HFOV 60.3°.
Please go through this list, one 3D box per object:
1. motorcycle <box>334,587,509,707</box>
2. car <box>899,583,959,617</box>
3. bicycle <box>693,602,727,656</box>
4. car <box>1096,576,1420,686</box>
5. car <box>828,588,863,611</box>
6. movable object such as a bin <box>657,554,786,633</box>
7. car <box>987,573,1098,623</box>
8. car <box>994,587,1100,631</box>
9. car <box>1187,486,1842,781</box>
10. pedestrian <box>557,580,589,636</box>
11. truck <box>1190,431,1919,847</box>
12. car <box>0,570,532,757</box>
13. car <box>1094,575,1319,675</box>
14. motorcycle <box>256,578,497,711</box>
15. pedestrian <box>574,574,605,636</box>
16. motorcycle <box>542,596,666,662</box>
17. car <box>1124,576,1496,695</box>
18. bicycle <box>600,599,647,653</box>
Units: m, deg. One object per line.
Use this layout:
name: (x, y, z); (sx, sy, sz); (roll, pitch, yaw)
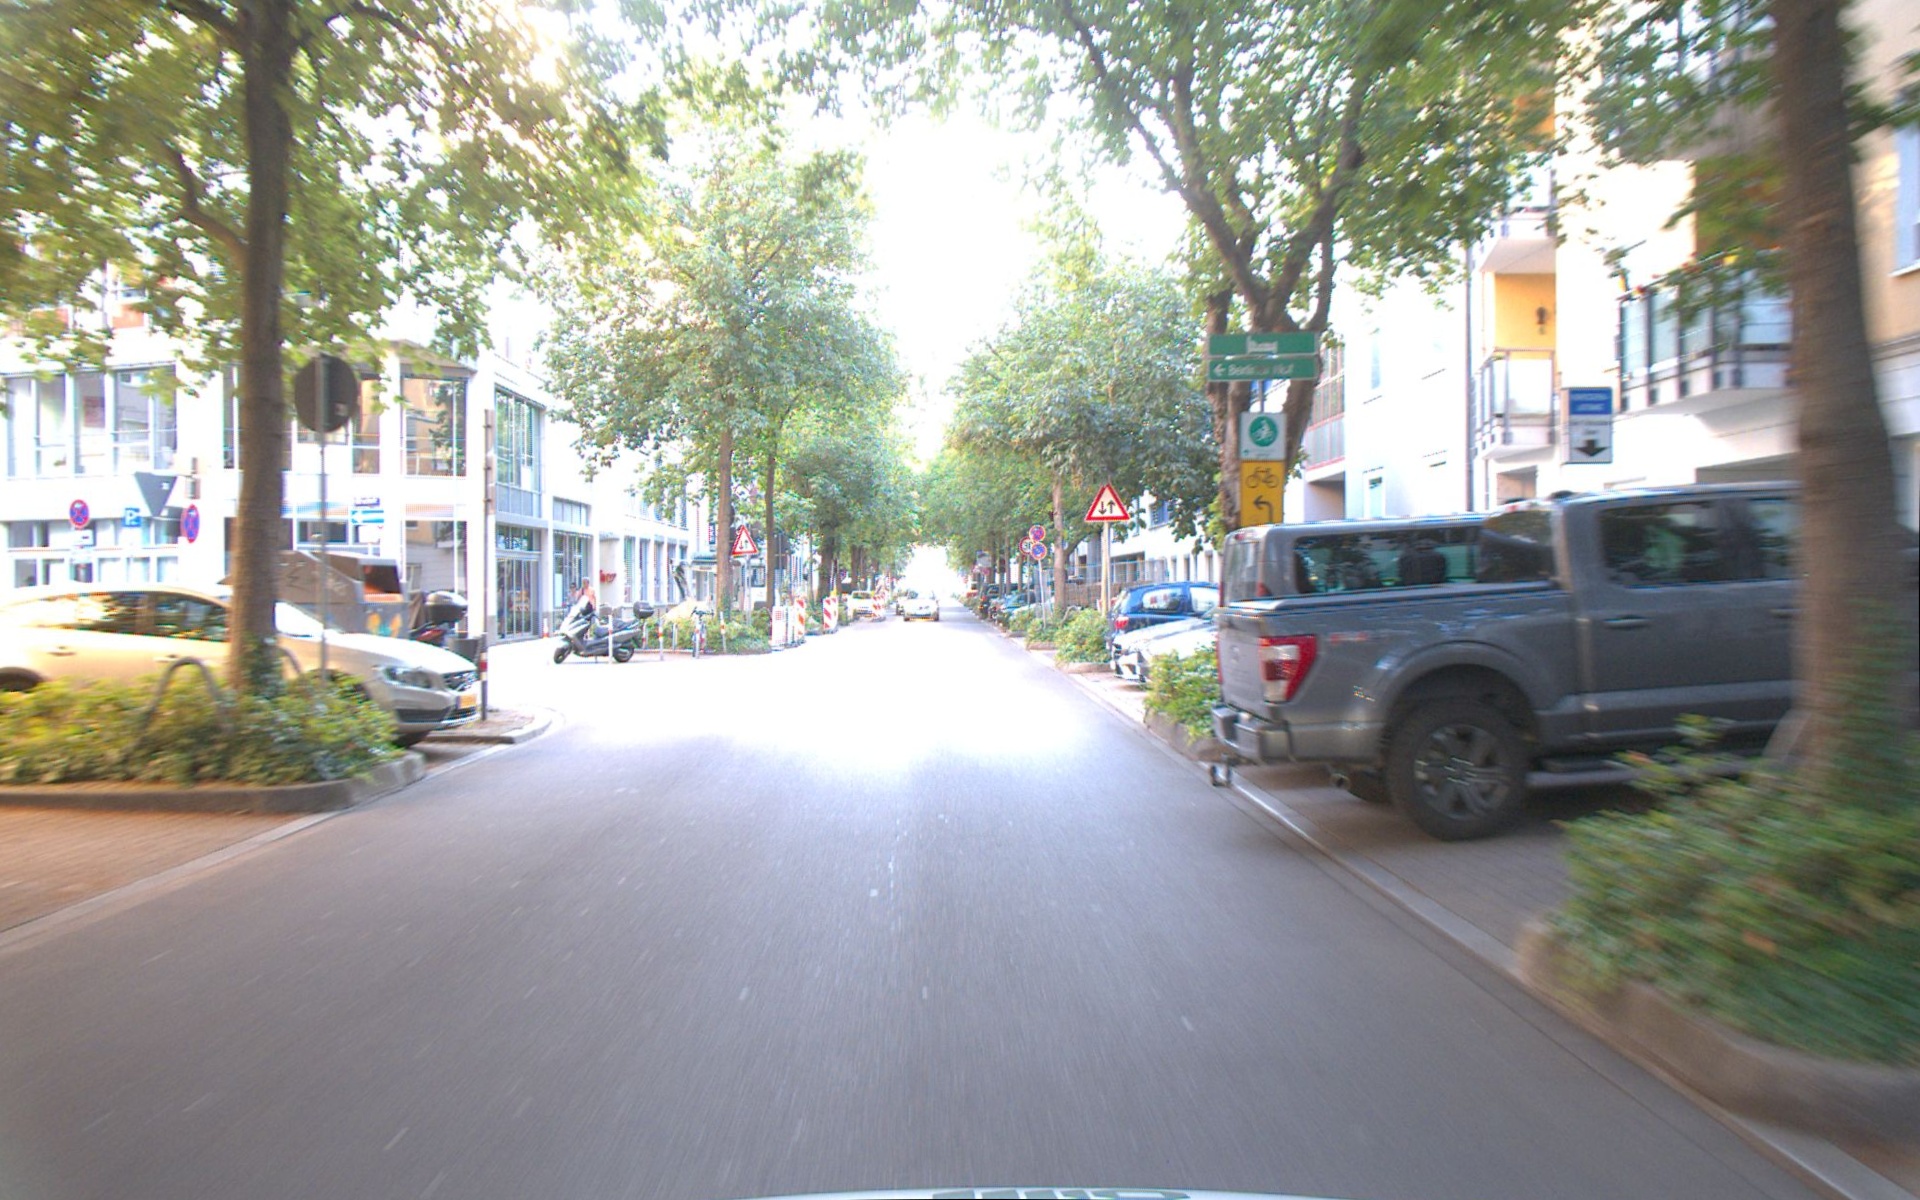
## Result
motorcycle: (-6.795, 0.570, 20.842); (2.205, 1.445, 0.851); (0, 0, 30)
car: (-1.564, -0.014, 84.020); (1.967, 1.641, 4.123); (0, 1, 15)
bicycle: (-5.808, 0.656, 38.520); (0.670, 1.173, 1.978); (-1, 1, -6)
car: (4.407, 0.443, 24.985); (4.528, 1.598, 2.010); (0, 0, -1)
car: (-6.779, -0.032, 97.770); (1.955, 1.310, 3.996); (0, 1, -5)
movable object such as a bin: (-7.573, -0.221, 53.016); (3.969, 2.424, 2.781); (-1, 1, -7)
car: (3.514, -0.096, 71.006); (4.643, 2.049, 1.999); (1, 0, -2)
car: (3.229, 0.329, 61.958); (3.905, 1.612, 2.000); (0, 0, 1)
car: (4.261, 0.228, 13.306); (4.507, 2.102, 2.197); (-1, 1, -2)
pedestrian: (-10.930, 0.217, 46.735); (0.754, 1.562, 0.642); (0, 0, -1)
truck: (4.507, 0.206, 10.567); (5.767, 2.351, 2.212); (0, 0, 0)
car: (-6.442, 0.528, 15.062); (4.523, 1.579, 2.076); (0, 0, 1)
car: (4.066, 0.393, 27.639); (3.467, 1.591, 1.832); (0, 0, -1)
motorcycle: (-6.590, 0.491, 18.771); (2.402, 1.445, 0.911); (0, 0, 1)
pedestrian: (-10.398, 0.128, 46.447); (0.724, 1.720, 0.607); (0, 0, 0)
motorcycle: (-7.468, 0.587, 34.762); (2.336, 1.304, 1.052); (-1, 1, -41)
car: (4.662, 0.456, 22.595); (4.684, 1.547, 1.991); (0, 0, 0)
bicycle: (-7.802, 0.585, 38.462); (0.669, 1.173, 1.981); (-1, 1, 0)
